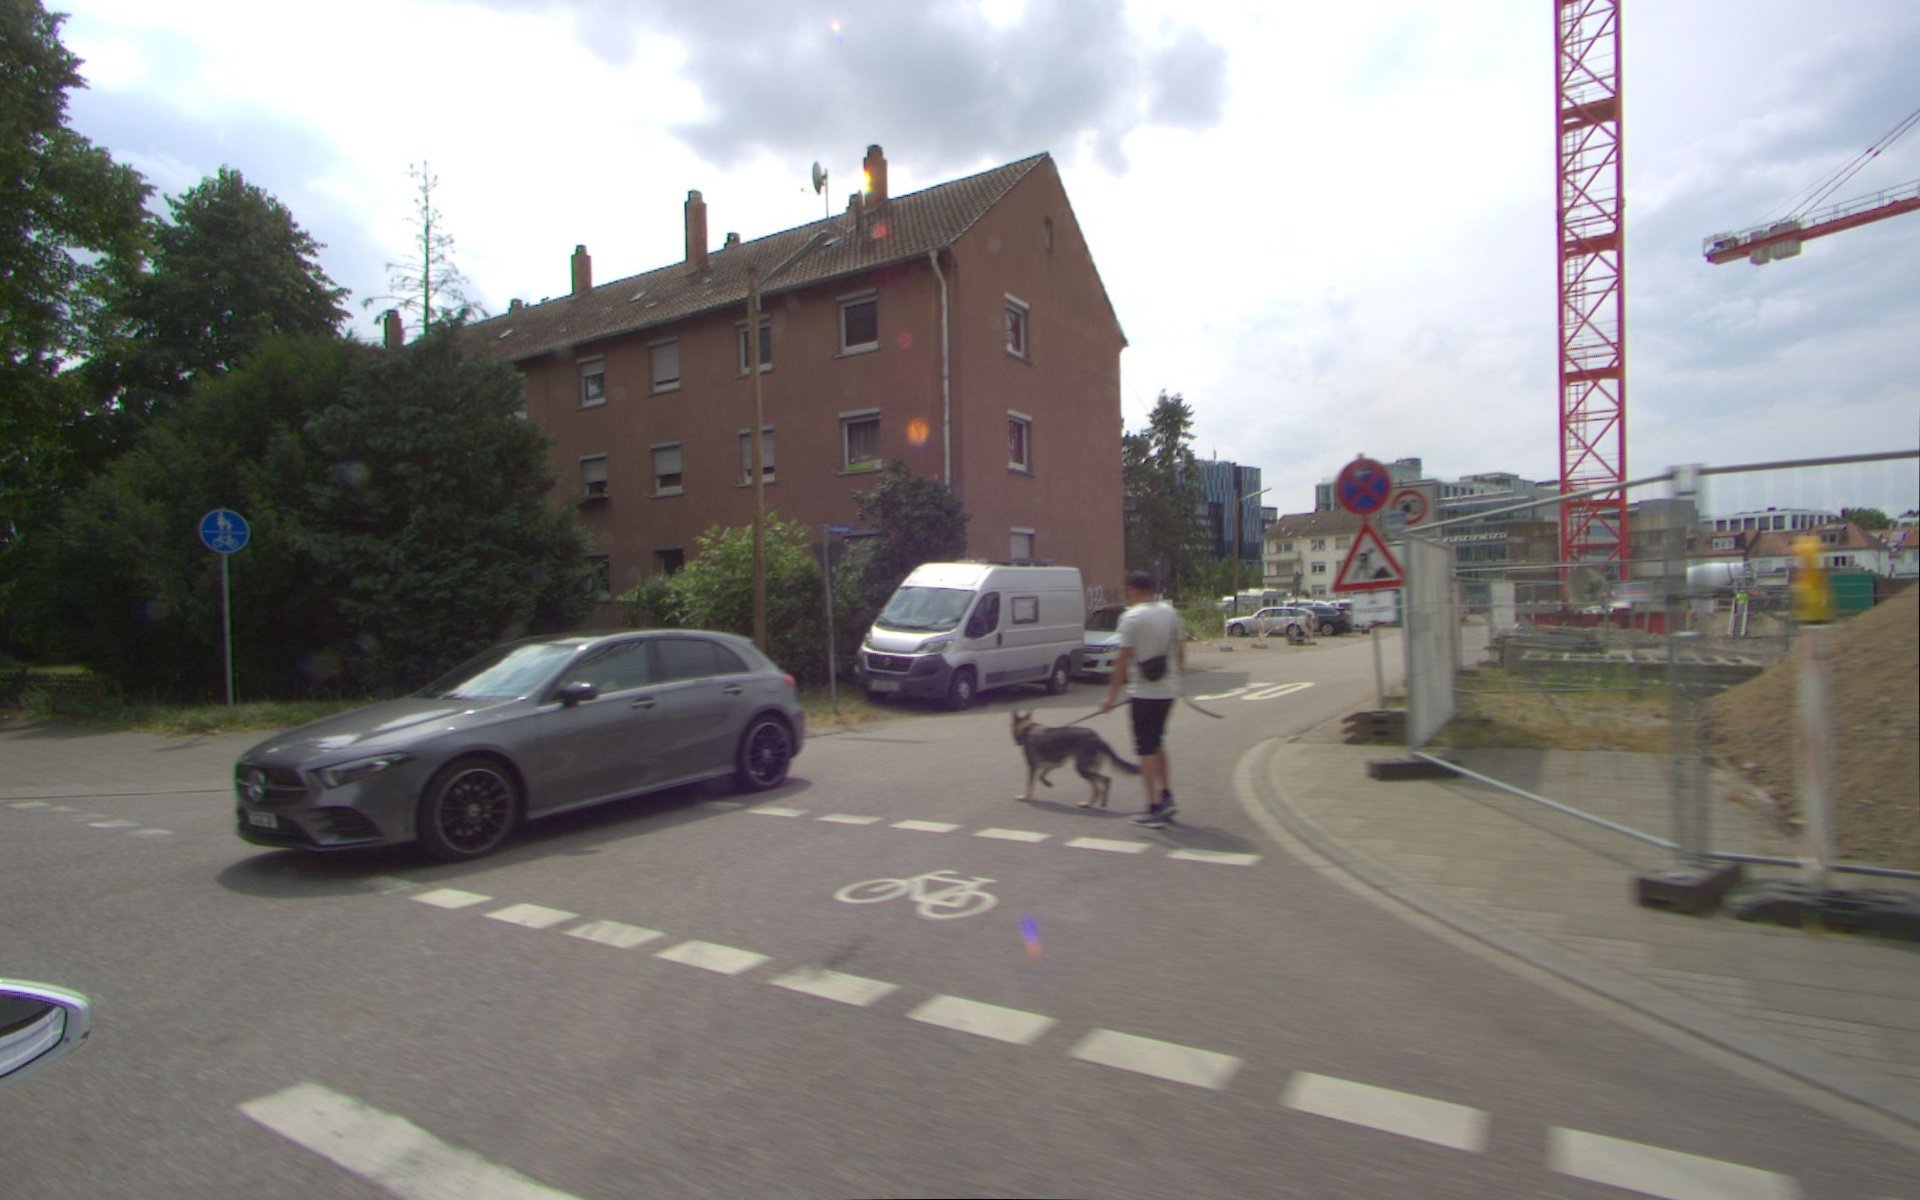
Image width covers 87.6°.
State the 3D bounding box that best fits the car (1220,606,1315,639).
[{"bbox_3d":[14.982,1.064,48.843,4.143,1.435,1.715,1,2,29],"label":"car"}]

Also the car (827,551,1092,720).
[{"bbox_3d":[0.203,0.513,18.662,2.303,2.668,5.457,2,2,34],"label":"car"}]

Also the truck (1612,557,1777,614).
[{"bbox_3d":[57.664,-1.058,78.834,10.160,4.189,3.320,-1,2,44],"label":"truck"}]

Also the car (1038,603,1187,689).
[{"bbox_3d":[3.696,0.991,23.670,1.875,1.742,4.183,1,2,34],"label":"car"}]

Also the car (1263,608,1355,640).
[{"bbox_3d":[17.496,1.179,50.228,4.143,1.435,1.715,1,2,29],"label":"car"}]

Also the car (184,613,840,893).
[{"bbox_3d":[-3.161,0.934,7.987,1.984,1.461,4.359,-3,-1,34],"label":"car"}]

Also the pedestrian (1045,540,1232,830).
[{"bbox_3d":[1.236,0.531,6.949,0.875,1.839,0.881,-3,2,-39],"label":"pedestrian"}]

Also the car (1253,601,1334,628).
[{"bbox_3d":[19.000,0.793,57.021,4.143,1.435,1.715,1,2,29],"label":"car"}]
